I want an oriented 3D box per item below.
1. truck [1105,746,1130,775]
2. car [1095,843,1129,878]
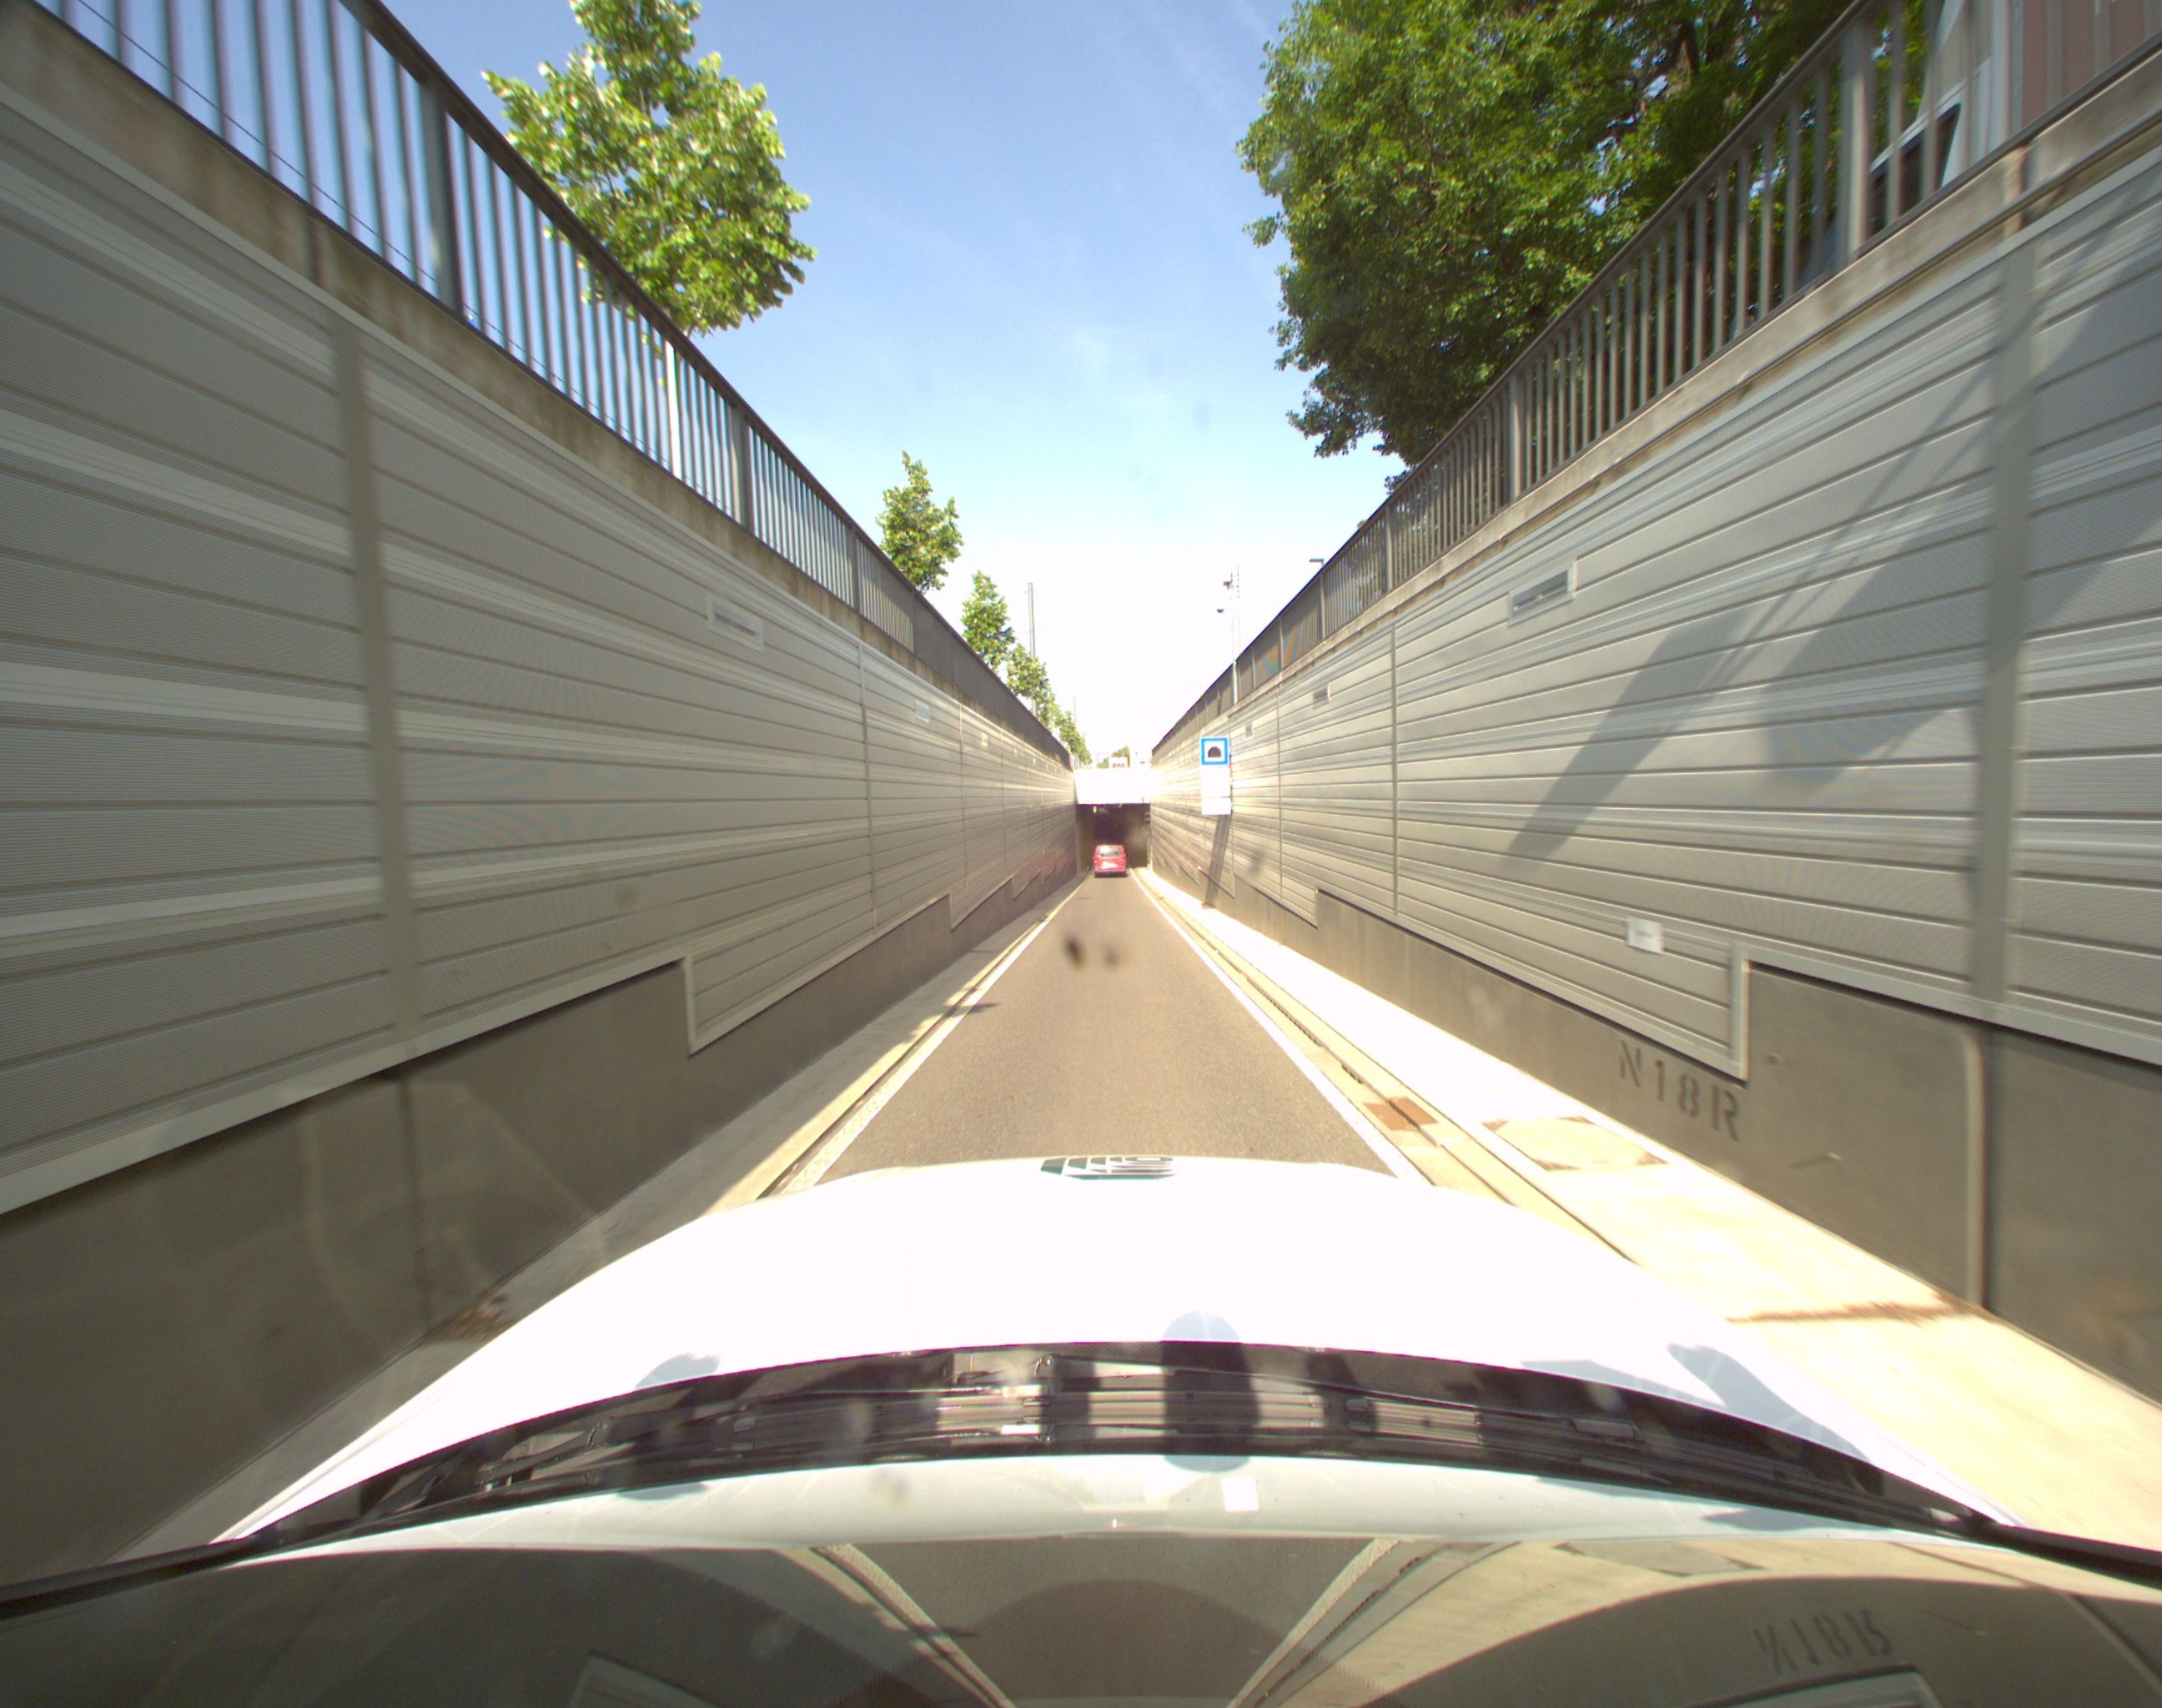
[{"bbox_3d":[5.325,-13.832,121.363,3.379,3.724,10.458,-2,4,1],"label":"truck"},{"bbox_3d":[1.823,0.324,47.964,1.894,1.859,4.003,0,2,2],"label":"car"}]
